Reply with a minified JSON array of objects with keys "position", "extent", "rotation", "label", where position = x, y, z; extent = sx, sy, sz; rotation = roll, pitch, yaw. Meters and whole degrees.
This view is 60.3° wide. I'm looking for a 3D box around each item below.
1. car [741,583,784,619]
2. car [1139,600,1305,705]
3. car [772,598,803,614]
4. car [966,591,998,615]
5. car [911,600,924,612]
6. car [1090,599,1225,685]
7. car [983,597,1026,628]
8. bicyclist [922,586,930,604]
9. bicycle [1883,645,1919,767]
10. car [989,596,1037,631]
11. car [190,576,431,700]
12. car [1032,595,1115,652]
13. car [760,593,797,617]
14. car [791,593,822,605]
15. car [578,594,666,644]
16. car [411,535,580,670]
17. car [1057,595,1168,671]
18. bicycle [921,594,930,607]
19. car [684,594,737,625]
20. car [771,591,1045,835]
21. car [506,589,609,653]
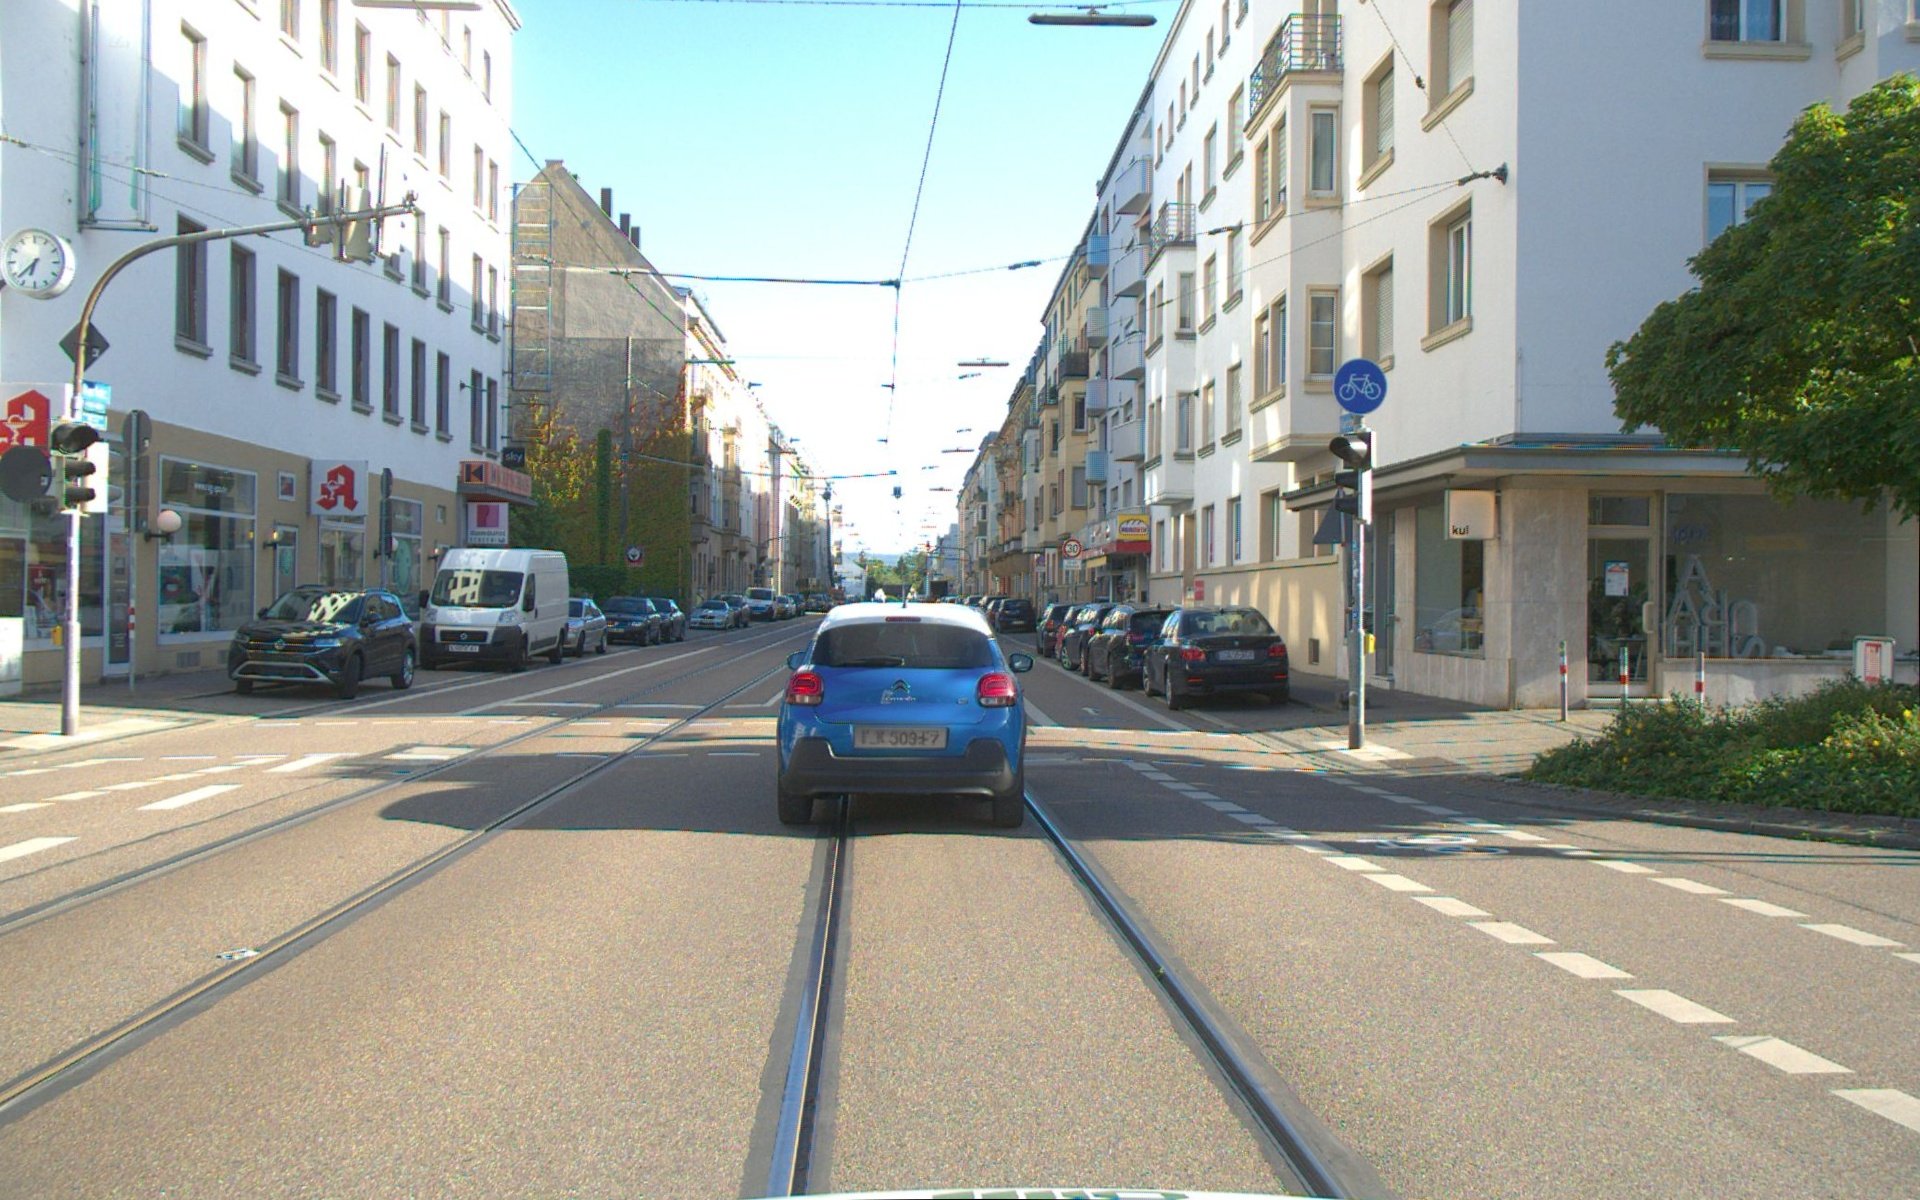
[{"position":[-11.833,0.073,99.427],"extent":[1.965,2.049,4.689],"rotation":[1,0,0],"label":"car"},{"position":[3.934,0.747,25.501],"extent":[1.871,1.489,3.999],"rotation":[0,0,-1],"label":"car"},{"position":[-13.212,0.437,126.767],"extent":[1.953,1.176,3.999],"rotation":[0,0,-1],"label":"car"},{"position":[1.384,0.169,106.043],"extent":[1.953,1.489,3.999],"rotation":[0,0,-1],"label":"car"},{"position":[-6.449,0.974,252.673],"extent":[1.953,1.803,3.999],"rotation":[0,0,-2],"label":"car"},{"position":[3.583,0.727,30.663],"extent":[1.953,1.489,3.999],"rotation":[0,0,-1],"label":"car"},{"position":[2.203,0.624,82.624],"extent":[1.953,1.489,3.999],"rotation":[0,0,-1],"label":"car"},{"position":[-3.958,-0.533,190.779],"extent":[0.792,2.049,0.923],"rotation":[1,-1,3],"label":"bicyclist"},{"position":[9.641,1.021,15.669],"extent":[1.534,1.140,0.300],"rotation":[1,-1,9],"label":"bicycle"},{"position":[2.377,0.591,74.923],"extent":[1.953,1.489,4.503],"rotation":[0,0,-1],"label":"car"},{"position":[-9.634,0.538,24.950],"extent":[1.954,1.596,4.400],"rotation":[3,-1,-3],"label":"car"},{"position":[3.104,0.622,45.845],"extent":[1.953,1.489,3.999],"rotation":[0,0,-1],"label":"car"},{"position":[-12.061,0.345,110.095],"extent":[1.915,1.579,3.938],"rotation":[1,0,1],"label":"car"},{"position":[-14.604,-0.088,157.252],"extent":[1.951,1.176,4.518],"rotation":[0,0,8],"label":"car"},{"position":[-10.294,0.564,50.661],"extent":[1.954,1.422,4.155],"rotation":[1,0,-3],"label":"car"},{"position":[-9.750,0.049,35.310],"extent":[2.044,2.586,6.202],"rotation":[1,0,-3],"label":"car"},{"position":[3.234,0.675,35.780],"extent":[1.953,1.527,3.999],"rotation":[0,0,-1],"label":"car"},{"position":[-3.947,0.052,190.629],"extent":[0.901,1.413,3.132],"rotation":[0,0,1],"label":"bicycle"},{"position":[-11.385,0.447,75.768],"extent":[1.954,1.348,3.920],"rotation":[1,0,-3],"label":"car"},{"position":[-0.379,0.710,12.358],"extent":[1.693,1.508,3.825],"rotation":[1,0,-2],"label":"car"},{"position":[-10.132,0.516,41.869],"extent":[1.850,1.522,3.560],"rotation":[1,0,-3],"label":"car"}]
